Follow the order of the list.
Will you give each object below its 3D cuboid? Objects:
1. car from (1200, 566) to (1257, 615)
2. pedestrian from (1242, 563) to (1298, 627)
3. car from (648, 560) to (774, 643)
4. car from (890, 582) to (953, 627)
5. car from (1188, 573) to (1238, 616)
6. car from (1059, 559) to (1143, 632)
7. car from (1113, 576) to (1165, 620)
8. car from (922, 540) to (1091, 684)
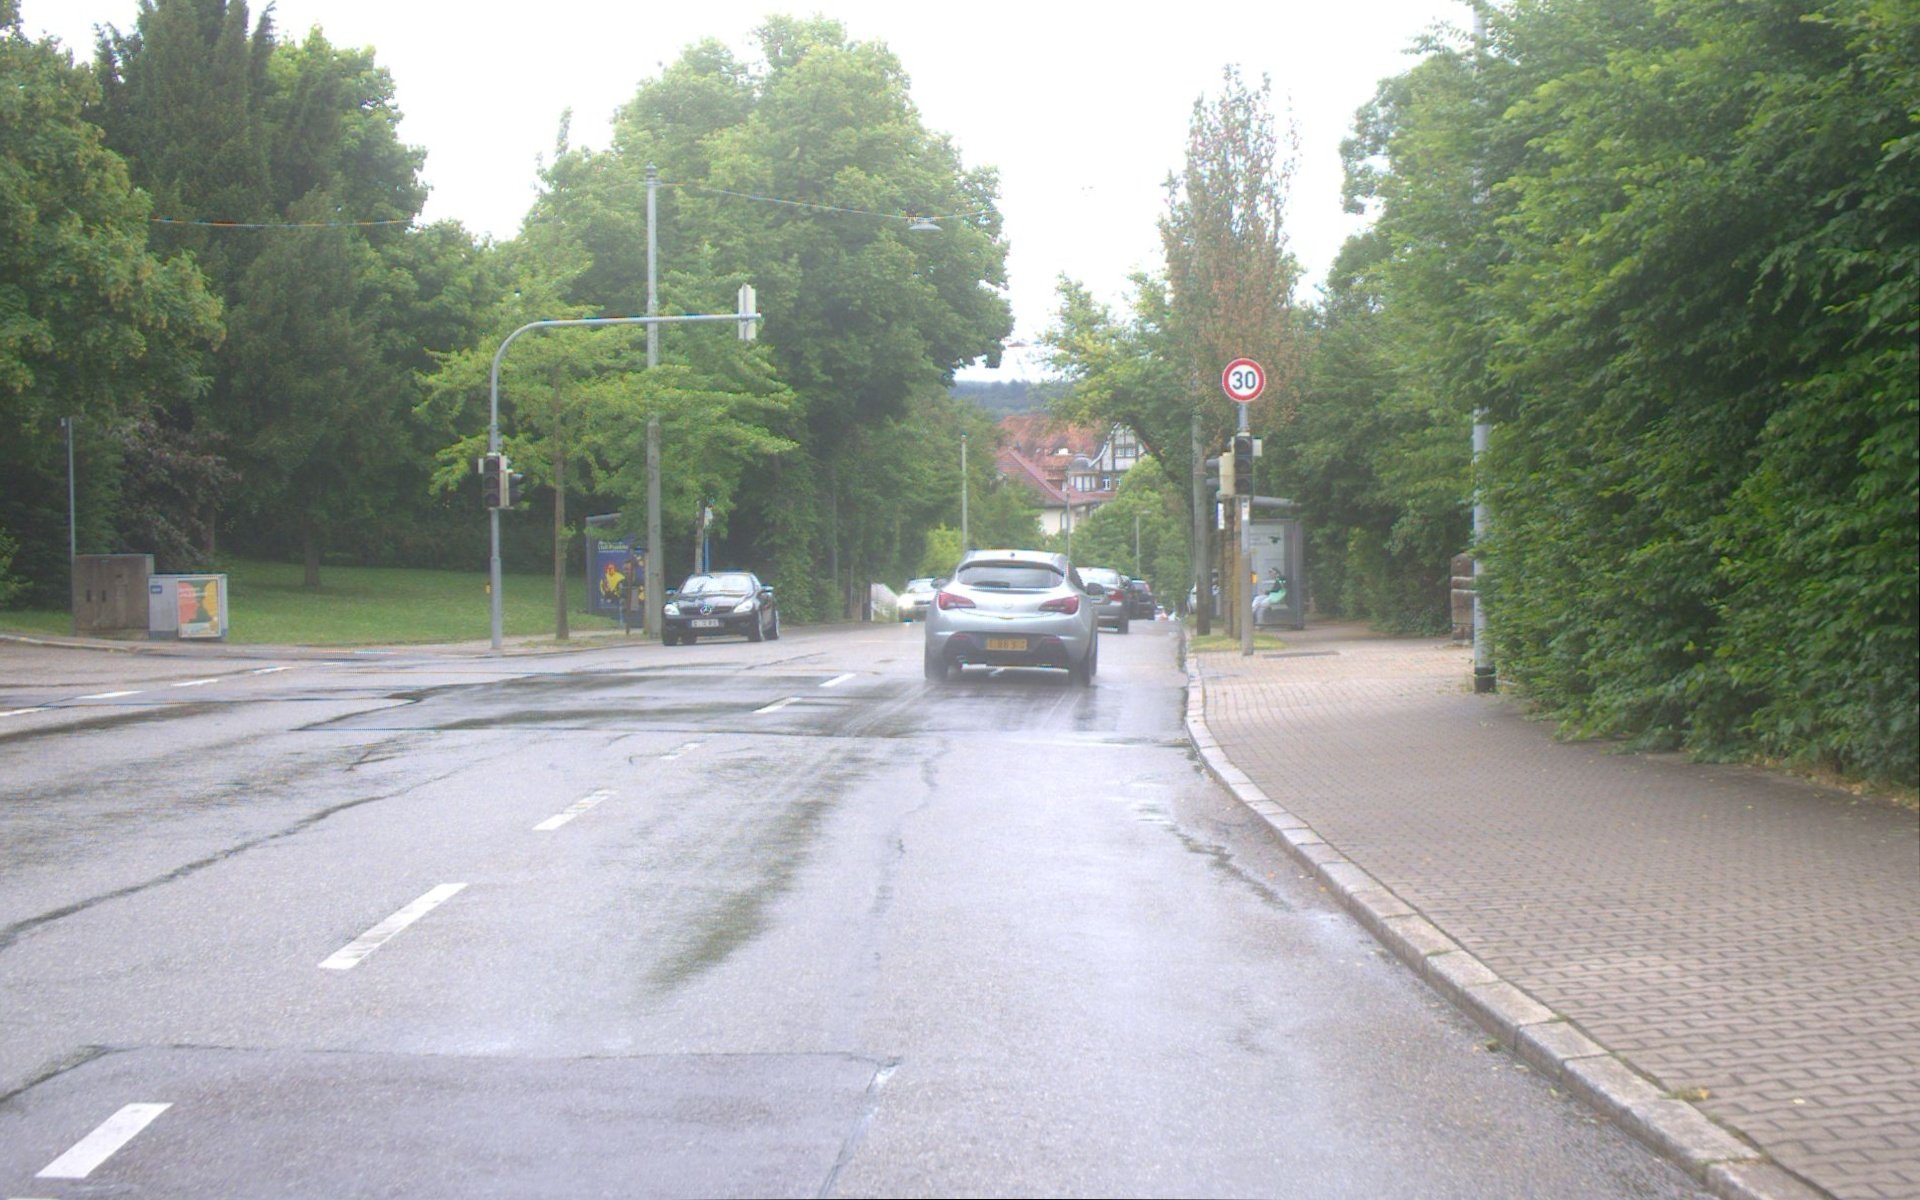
[{"bbox_3d":[8.312,-0.309,106.519,1.722,1.459,3.999,-1,0,4],"label":"car"},{"bbox_3d":[6.649,-0.113,73.729,1.074,1.351,0.918,-1,0,11],"label":"pedestrian"},{"bbox_3d":[-4.421,0.003,61.536,1.661,1.302,4.083,-2,2,4],"label":"car"},{"bbox_3d":[-1.256,0.144,113.565,1.722,1.394,3.999,2,1,4],"label":"car"},{"bbox_3d":[8.950,-0.214,121.672,1.722,1.459,3.999,-1,0,4],"label":"car"},{"bbox_3d":[3.076,-0.112,75.100,1.721,1.459,4.000,3,1,2],"label":"car"},{"bbox_3d":[6.390,-0.083,123.126,1.721,1.459,4.000,3,1,2],"label":"car"},{"bbox_3d":[0.574,0.095,38.908,1.754,1.459,4.000,2,1,2],"label":"car"}]
